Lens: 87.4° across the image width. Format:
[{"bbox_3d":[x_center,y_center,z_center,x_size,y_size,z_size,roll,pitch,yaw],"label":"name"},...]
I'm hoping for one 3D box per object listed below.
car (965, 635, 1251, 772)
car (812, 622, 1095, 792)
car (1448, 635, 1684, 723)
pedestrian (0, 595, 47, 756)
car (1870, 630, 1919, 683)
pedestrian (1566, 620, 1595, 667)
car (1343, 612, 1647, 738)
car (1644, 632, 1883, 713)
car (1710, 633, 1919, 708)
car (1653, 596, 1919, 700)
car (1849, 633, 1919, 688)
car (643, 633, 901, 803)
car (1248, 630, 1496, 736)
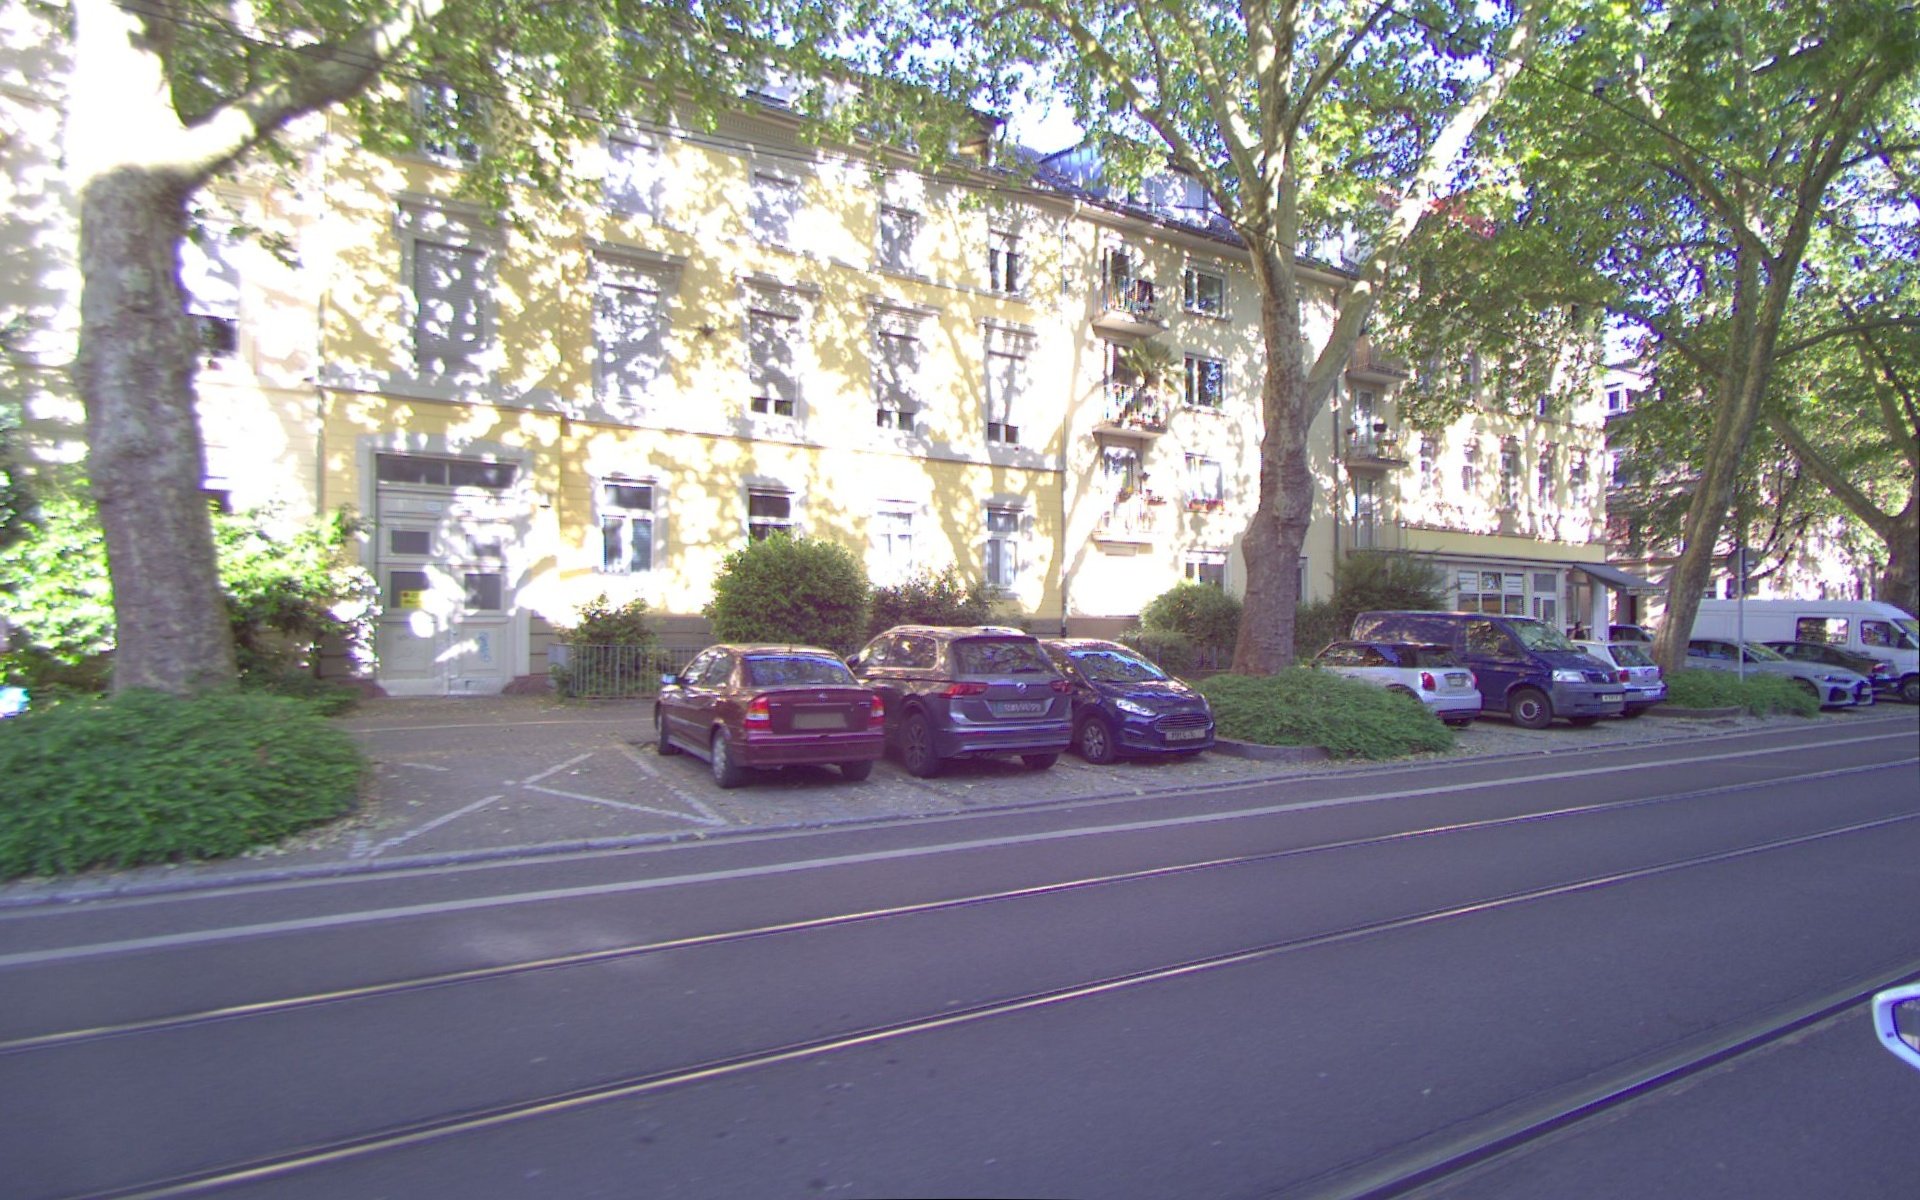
[{"bbox_3d":[1.841,1.264,13.658,1.798,1.440,3.900,1,0,-31],"label":"car"},{"bbox_3d":[-0.264,1.146,12.458,1.856,1.648,3.978,1,0,-28],"label":"car"},{"bbox_3d":[11.919,1.480,19.994,1.618,1.449,3.717,1,0,-30],"label":"car"},{"bbox_3d":[-11.559,0.887,12.015,0.830,1.874,0.858,1,-1,-37],"label":"pedestrian"},{"bbox_3d":[30.403,1.767,30.432,1.659,1.598,3.898,1,0,-32],"label":"car"},{"bbox_3d":[20.498,1.436,33.180,0.623,1.518,0.655,1,0,-40],"label":"pedestrian"},{"bbox_3d":[9.655,1.239,18.575,1.956,1.949,4.655,1,0,-28],"label":"car"},{"bbox_3d":[18.000,1.560,22.695,1.656,1.518,3.903,1,0,-28],"label":"car"},{"bbox_3d":[20.653,1.608,24.120,1.659,1.518,3.898,1,0,-32],"label":"car"},{"bbox_3d":[22.416,1.154,26.324,2.428,2.441,6.598,1,0,-29],"label":"car"},{"bbox_3d":[28.435,1.785,28.972,1.659,1.518,3.898,1,0,-32],"label":"car"},{"bbox_3d":[-2.312,1.171,11.473,1.728,1.461,3.902,1,0,-29],"label":"car"},{"bbox_3d":[6.992,1.339,17.409,1.726,1.518,3.717,1,0,-30],"label":"car"}]
